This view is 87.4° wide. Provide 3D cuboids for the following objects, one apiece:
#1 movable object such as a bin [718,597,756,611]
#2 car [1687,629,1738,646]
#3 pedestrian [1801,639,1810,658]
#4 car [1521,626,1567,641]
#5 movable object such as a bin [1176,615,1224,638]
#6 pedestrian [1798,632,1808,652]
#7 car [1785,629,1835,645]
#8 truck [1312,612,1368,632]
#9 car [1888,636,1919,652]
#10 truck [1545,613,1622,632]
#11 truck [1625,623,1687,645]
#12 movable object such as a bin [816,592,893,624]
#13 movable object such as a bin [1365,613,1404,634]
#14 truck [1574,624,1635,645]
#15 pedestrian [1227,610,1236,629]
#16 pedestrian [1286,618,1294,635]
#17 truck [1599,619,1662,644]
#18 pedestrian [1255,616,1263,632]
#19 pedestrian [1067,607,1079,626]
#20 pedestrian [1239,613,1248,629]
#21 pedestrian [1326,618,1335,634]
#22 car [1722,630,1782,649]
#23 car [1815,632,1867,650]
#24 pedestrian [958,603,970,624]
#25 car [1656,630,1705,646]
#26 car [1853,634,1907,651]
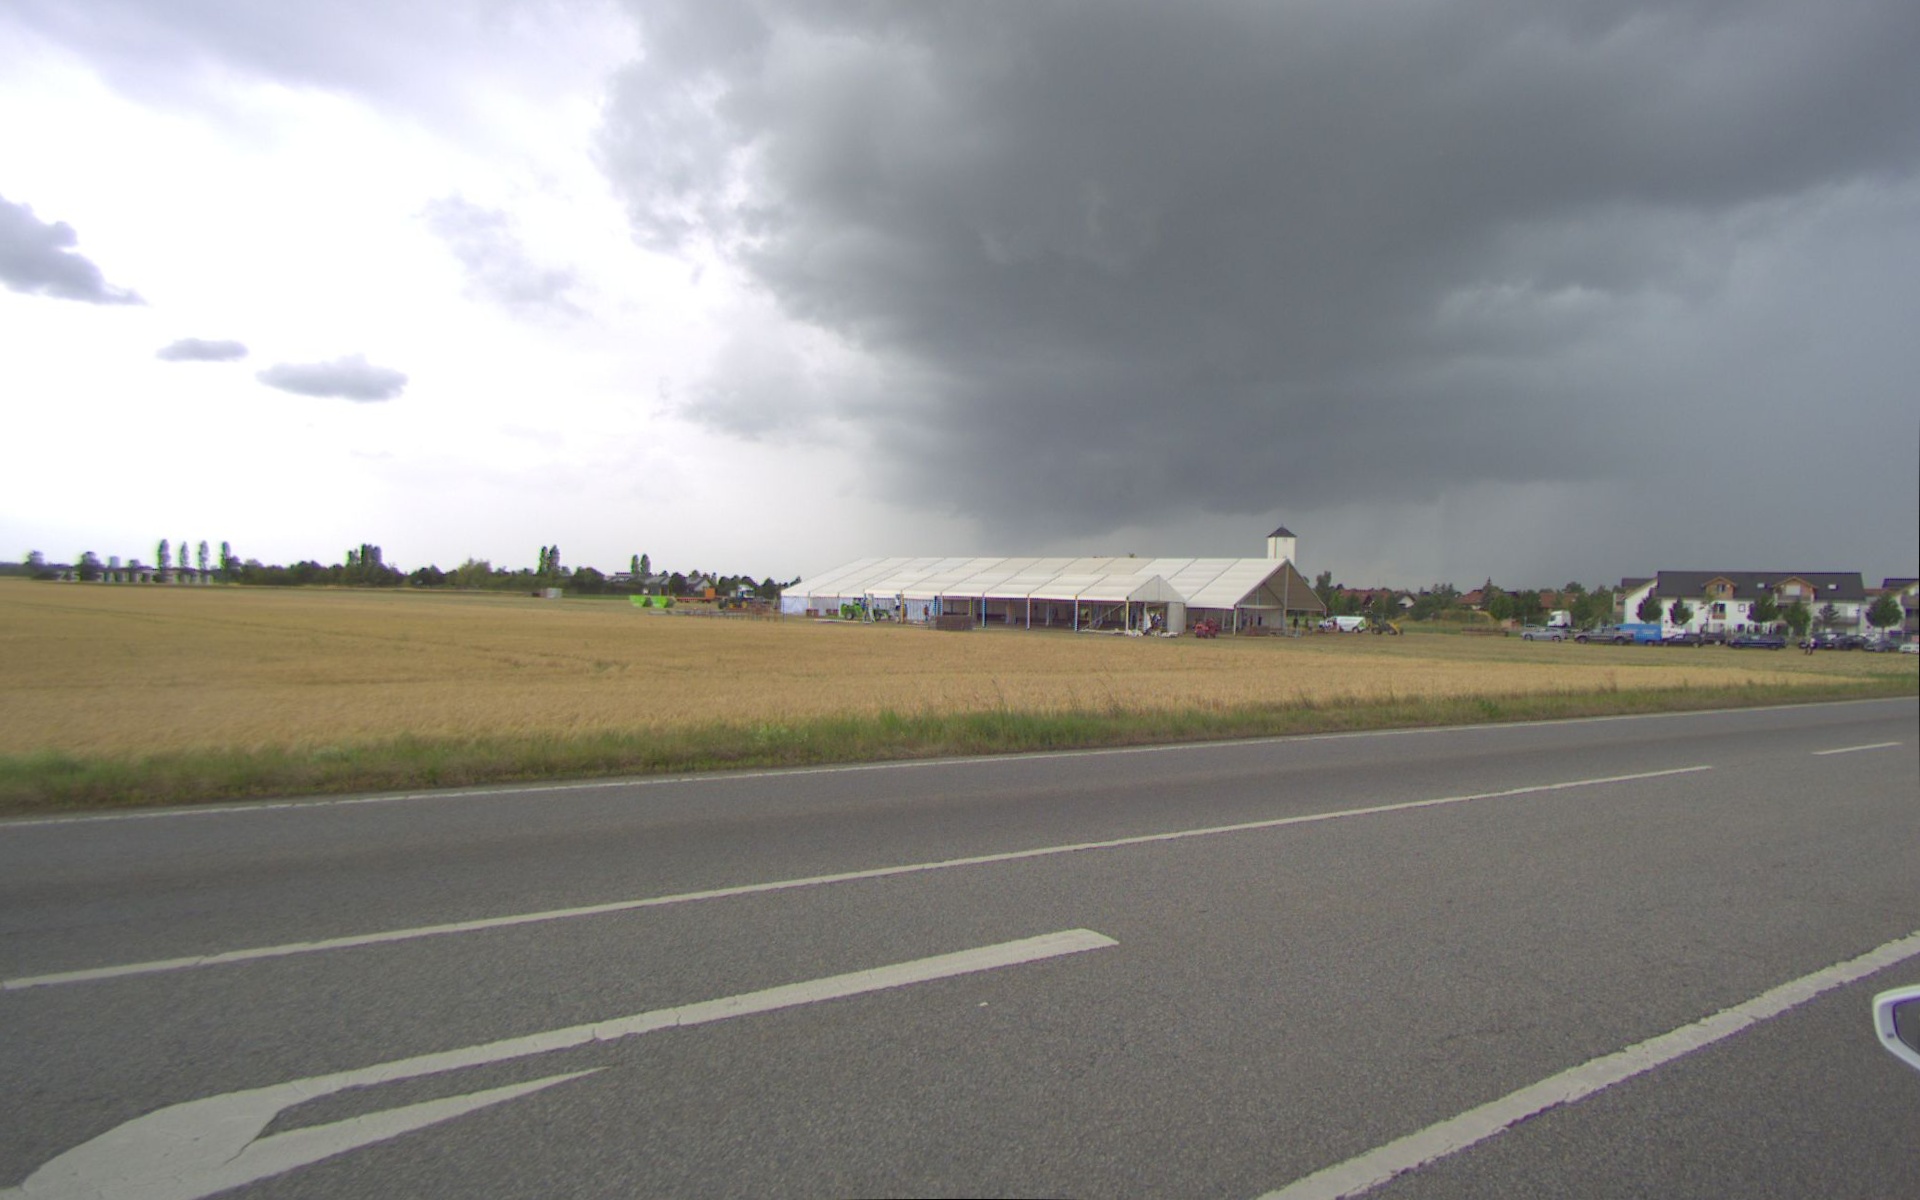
[{"bbox_3d":[-34.006,0.608,153.288,2.526,2.040,5.391,2,0,38],"label":"movable object such as a bin"},{"bbox_3d":[85.585,4.223,114.329,4.567,1.719,1.992,1,-1,38],"label":"car"},{"bbox_3d":[74.420,4.270,88.383,0.582,1.576,0.623,1,0,38],"label":"pedestrian"},{"bbox_3d":[63.530,3.657,109.257,4.233,1.480,1.887,1,-1,31],"label":"car"},{"bbox_3d":[20.654,2.262,86.323,2.554,1.889,4.461,1,-1,34],"label":"movable object such as a bin"},{"bbox_3d":[73.787,3.675,87.928,0.674,1.809,0.543,2,-1,-45],"label":"pedestrian"},{"bbox_3d":[89.226,3.876,105.396,4.141,1.650,1.994,1,-1,-15],"label":"car"},{"bbox_3d":[46.066,2.658,121.686,5.956,2.246,2.715,1,-1,31],"label":"truck"},{"bbox_3d":[91.379,4.191,96.003,4.141,1.465,1.994,1,-1,-15],"label":"car"},{"bbox_3d":[93.335,3.362,150.620,3.265,2.563,9.290,2,-1,-33],"label":"truck"},{"bbox_3d":[75.690,3.688,109.345,5.490,2.226,2.599,1,-1,35],"label":"truck"},{"bbox_3d":[-11.463,0.861,108.926,7.461,3.219,4.143,2,0,37],"label":"movable object such as a bin"},{"bbox_3d":[48.908,2.730,115.756,3.926,2.272,1.882,1,-1,30],"label":"movable object such as a bin"},{"bbox_3d":[65.994,3.480,102.983,5.152,1.946,2.108,1,-1,31],"label":"truck"},{"bbox_3d":[29.440,2.099,108.763,0.860,2.040,0.768,1,0,16],"label":"pedestrian"},{"bbox_3d":[36.406,2.942,110.875,0.679,1.799,0.693,1,0,34],"label":"pedestrian"},{"bbox_3d":[69.767,3.269,104.609,5.375,2.478,2.387,1,-1,35],"label":"truck"},{"bbox_3d":[33.028,2.627,111.017,0.643,1.767,0.727,1,0,2],"label":"pedestrian"},{"bbox_3d":[12.792,1.898,113.660,0.931,2.130,0.860,2,0,-33],"label":"pedestrian"},{"bbox_3d":[31.111,2.309,110.256,0.717,1.803,0.760,1,0,2],"label":"pedestrian"},{"bbox_3d":[42.508,2.946,115.230,0.680,1.799,0.691,1,0,42],"label":"pedestrian"},{"bbox_3d":[79.801,3.971,101.303,4.656,1.719,1.992,1,-1,38],"label":"car"},{"bbox_3d":[88.981,4.133,101.481,4.141,1.650,1.994,1,-1,-15],"label":"car"},{"bbox_3d":[0.374,1.340,98.511,1.006,2.040,0.806,2,0,-6],"label":"pedestrian"},{"bbox_3d":[75.133,3.967,104.740,4.102,1.539,1.992,1,-1,37],"label":"car"},{"bbox_3d":[90.266,4.190,98.563,4.141,1.556,1.994,1,-1,-15],"label":"car"}]
